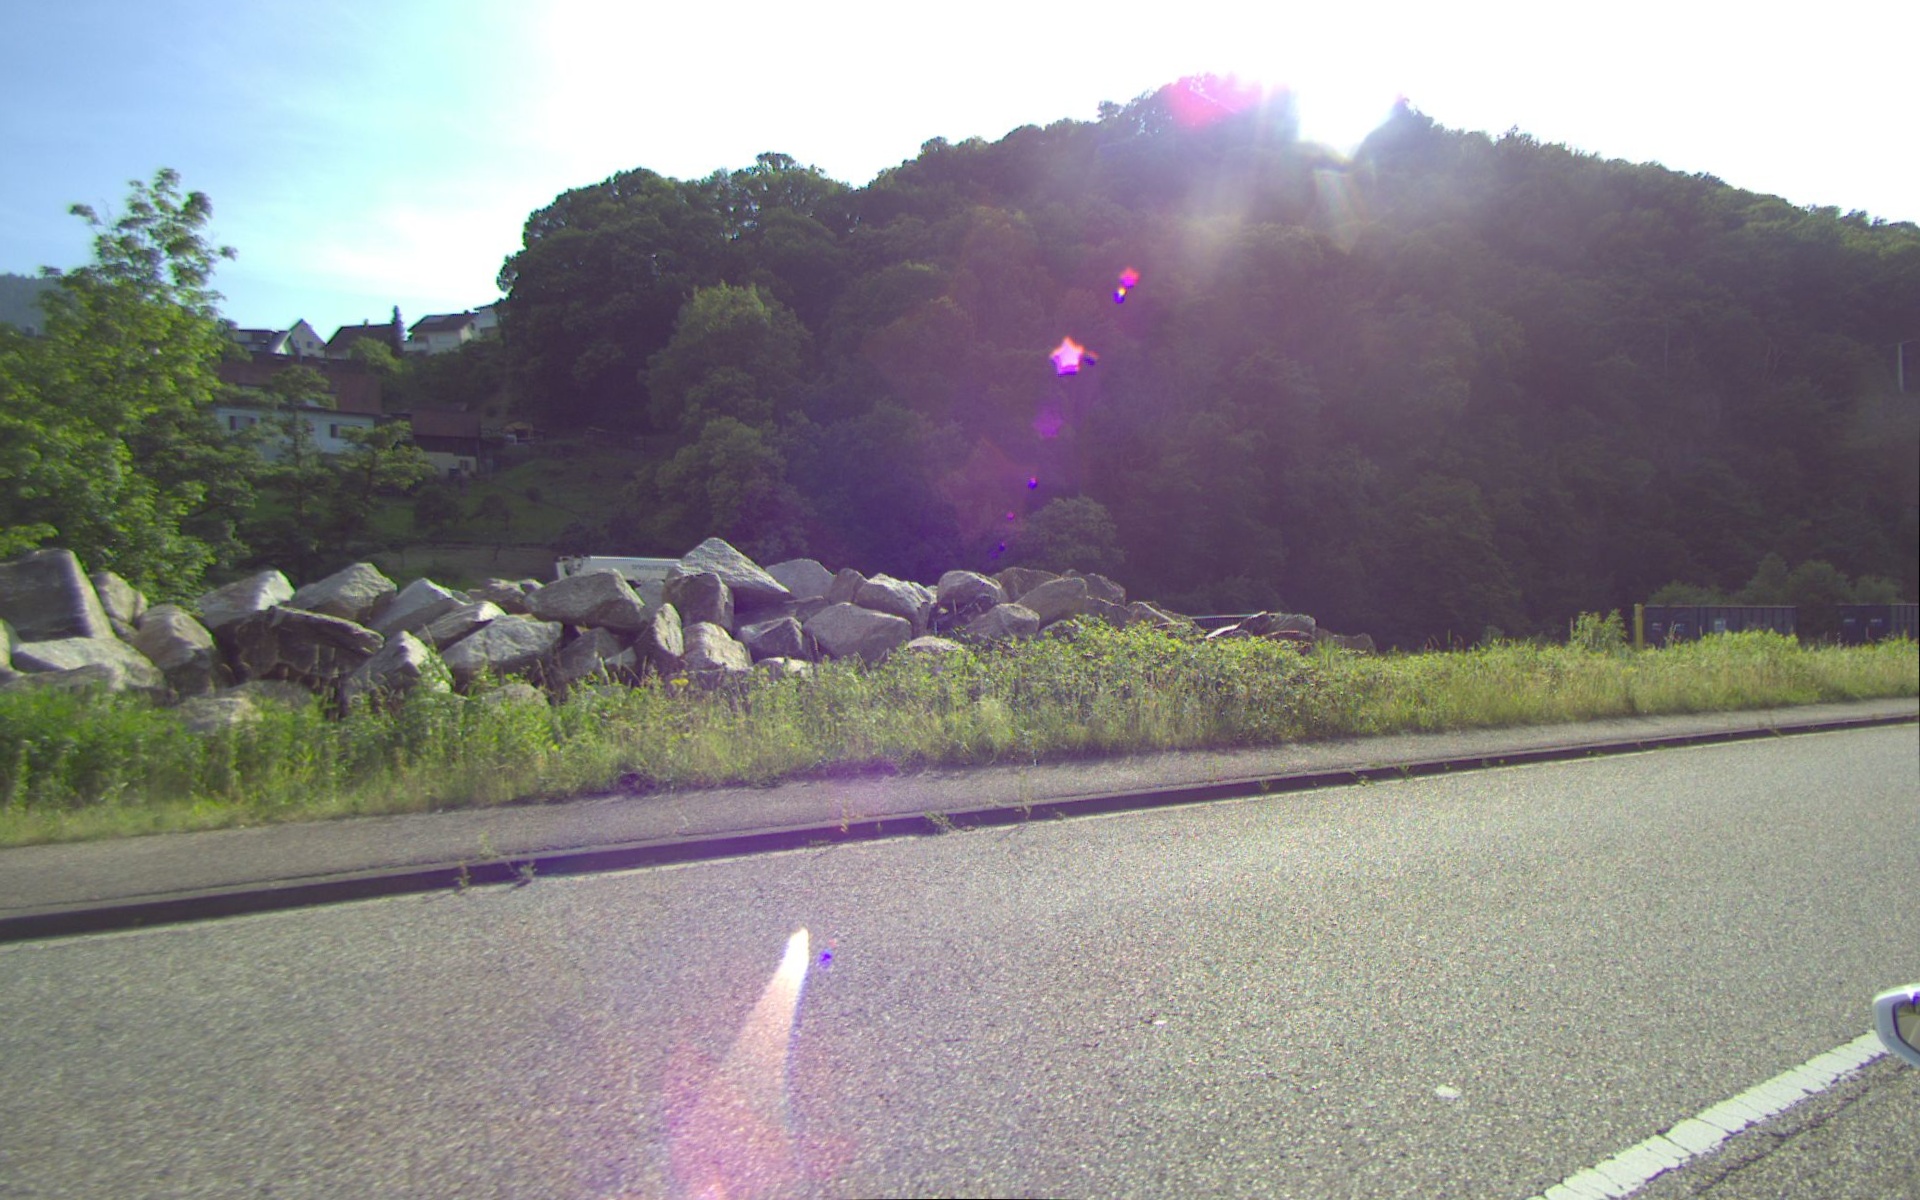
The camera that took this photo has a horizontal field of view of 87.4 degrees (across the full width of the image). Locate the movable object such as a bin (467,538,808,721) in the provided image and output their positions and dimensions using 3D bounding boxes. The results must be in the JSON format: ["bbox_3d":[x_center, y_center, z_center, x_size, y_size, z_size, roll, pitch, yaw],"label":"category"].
[{"bbox_3d":[-7.967,0.770,25.413,7.734,3.998,2.879,1,-3,-36],"label":"movable object such as a bin"}]
